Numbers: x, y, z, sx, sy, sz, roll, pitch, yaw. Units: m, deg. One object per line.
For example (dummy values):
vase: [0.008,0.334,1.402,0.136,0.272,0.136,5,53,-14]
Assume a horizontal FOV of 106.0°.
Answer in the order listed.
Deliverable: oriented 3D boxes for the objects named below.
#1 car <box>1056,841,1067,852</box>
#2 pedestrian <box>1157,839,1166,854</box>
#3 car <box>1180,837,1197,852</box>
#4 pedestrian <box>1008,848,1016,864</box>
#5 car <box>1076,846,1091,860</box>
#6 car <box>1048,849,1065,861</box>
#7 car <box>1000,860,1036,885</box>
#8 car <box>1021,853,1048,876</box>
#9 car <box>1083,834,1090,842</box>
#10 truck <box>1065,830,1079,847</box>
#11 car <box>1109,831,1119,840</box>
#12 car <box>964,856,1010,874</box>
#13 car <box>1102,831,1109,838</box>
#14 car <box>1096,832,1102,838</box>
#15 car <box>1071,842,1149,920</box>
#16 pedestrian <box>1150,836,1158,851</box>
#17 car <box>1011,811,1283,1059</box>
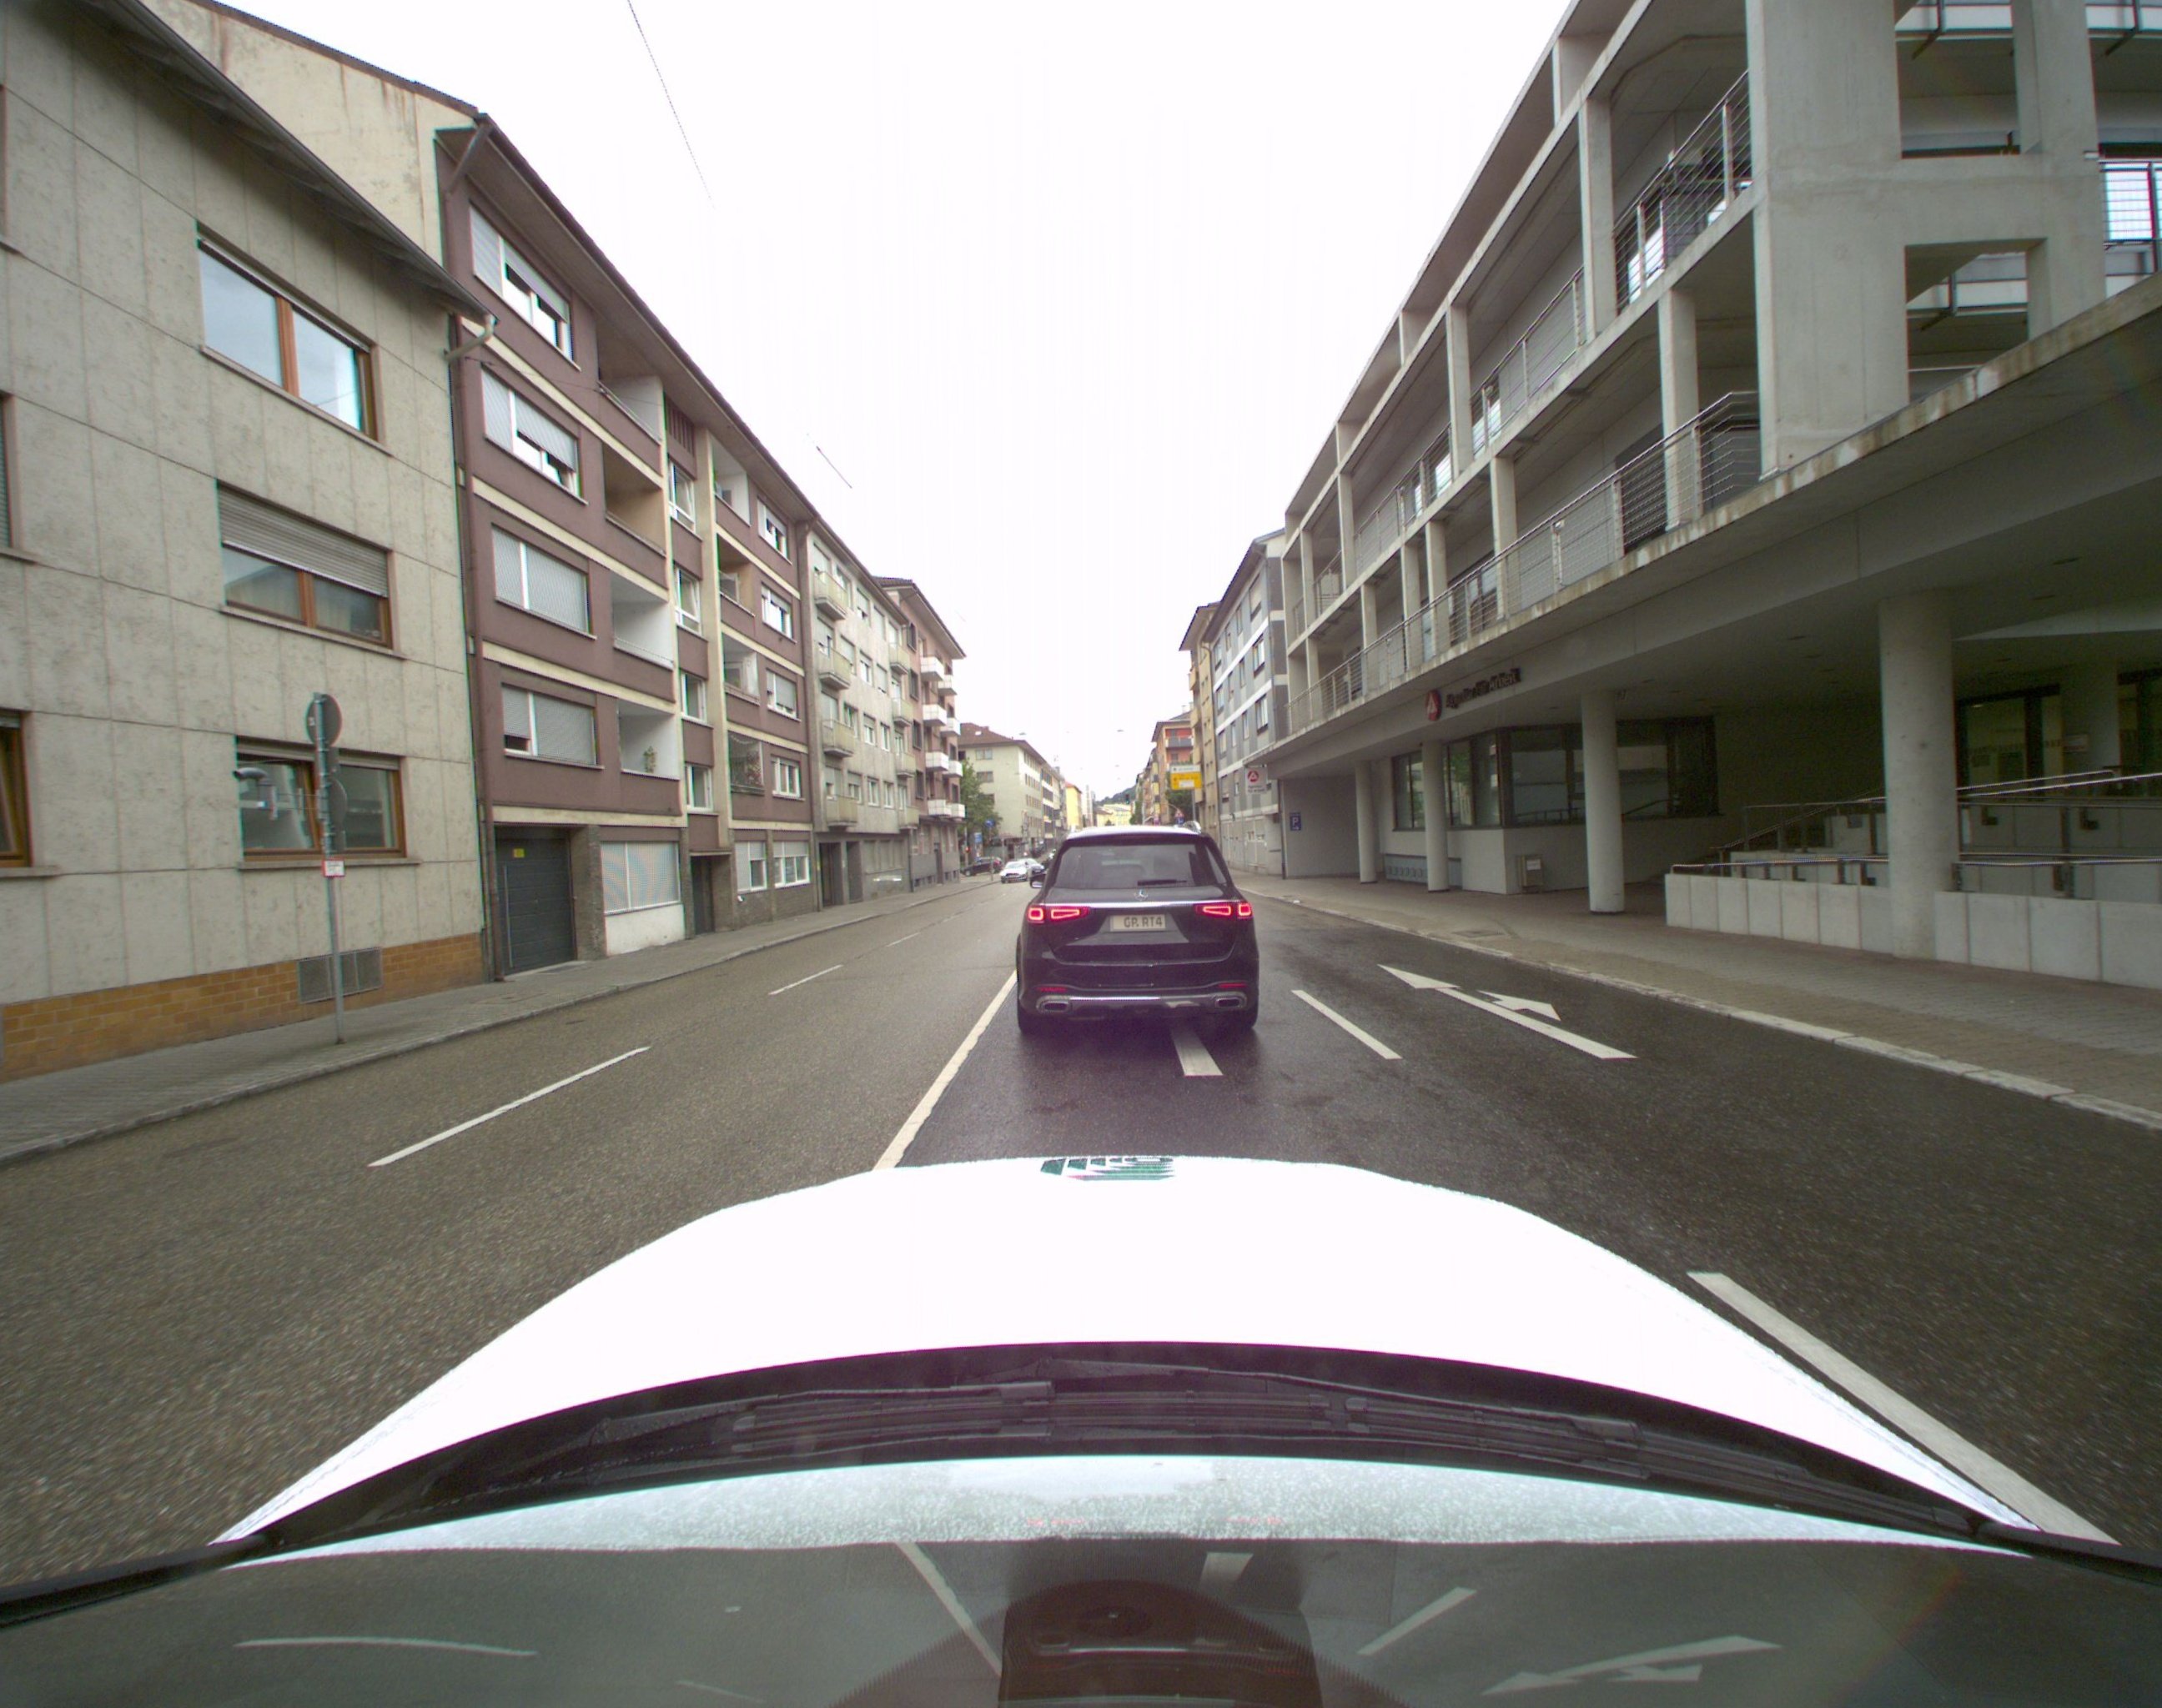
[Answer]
car: [-3.071,-1.229,131.476,1.613,1.539,4.216,-5,-1,0]
pedestrian: [10.057,-0.930,101.943,0.920,1.804,0.706,-4,0,0]
car: [12.394,-1.117,93.875,1.664,1.588,3.334,-4,0,4]
pedestrian: [-8.641,0.259,101.854,0.920,1.902,0.706,-4,0,0]
car: [0.298,-0.063,100.777,1.613,1.539,4.216,-5,-1,0]
car: [-2.999,0.172,99.714,1.879,1.264,4.216,-5,-1,-1]
car: [-4.425,1.298,57.486,1.764,1.539,4.364,-5,-1,4]
car: [-3.917,0.848,67.693,1.771,1.645,4.400,-5,1,-7]
car: [1.324,-3.807,193.319,1.613,1.539,4.217,-5,2,0]
truck: [-1.729,-3.053,156.717,2.472,3.045,9.919,-5,2,0]
car: [6.860,-3.935,170.126,1.718,1.759,4.217,-5,1,0]
car: [-9.681,1.141,83.598,4.174,1.539,1.828,-5,-1,14]
car: [6.662,-5.219,217.672,1.613,1.539,4.217,-5,1,0]
car: [5.374,-5.887,249.806,1.613,1.539,4.217,-5,3,0]
car: [0.639,0.632,20.305,1.746,1.731,4.216,0,-1,0]
pedestrian: [9.833,-1.421,109.318,0.920,2.013,0.706,-4,0,0]
car: [0.547,0.614,8.172,1.977,1.805,4.391,-1,-1,2]
